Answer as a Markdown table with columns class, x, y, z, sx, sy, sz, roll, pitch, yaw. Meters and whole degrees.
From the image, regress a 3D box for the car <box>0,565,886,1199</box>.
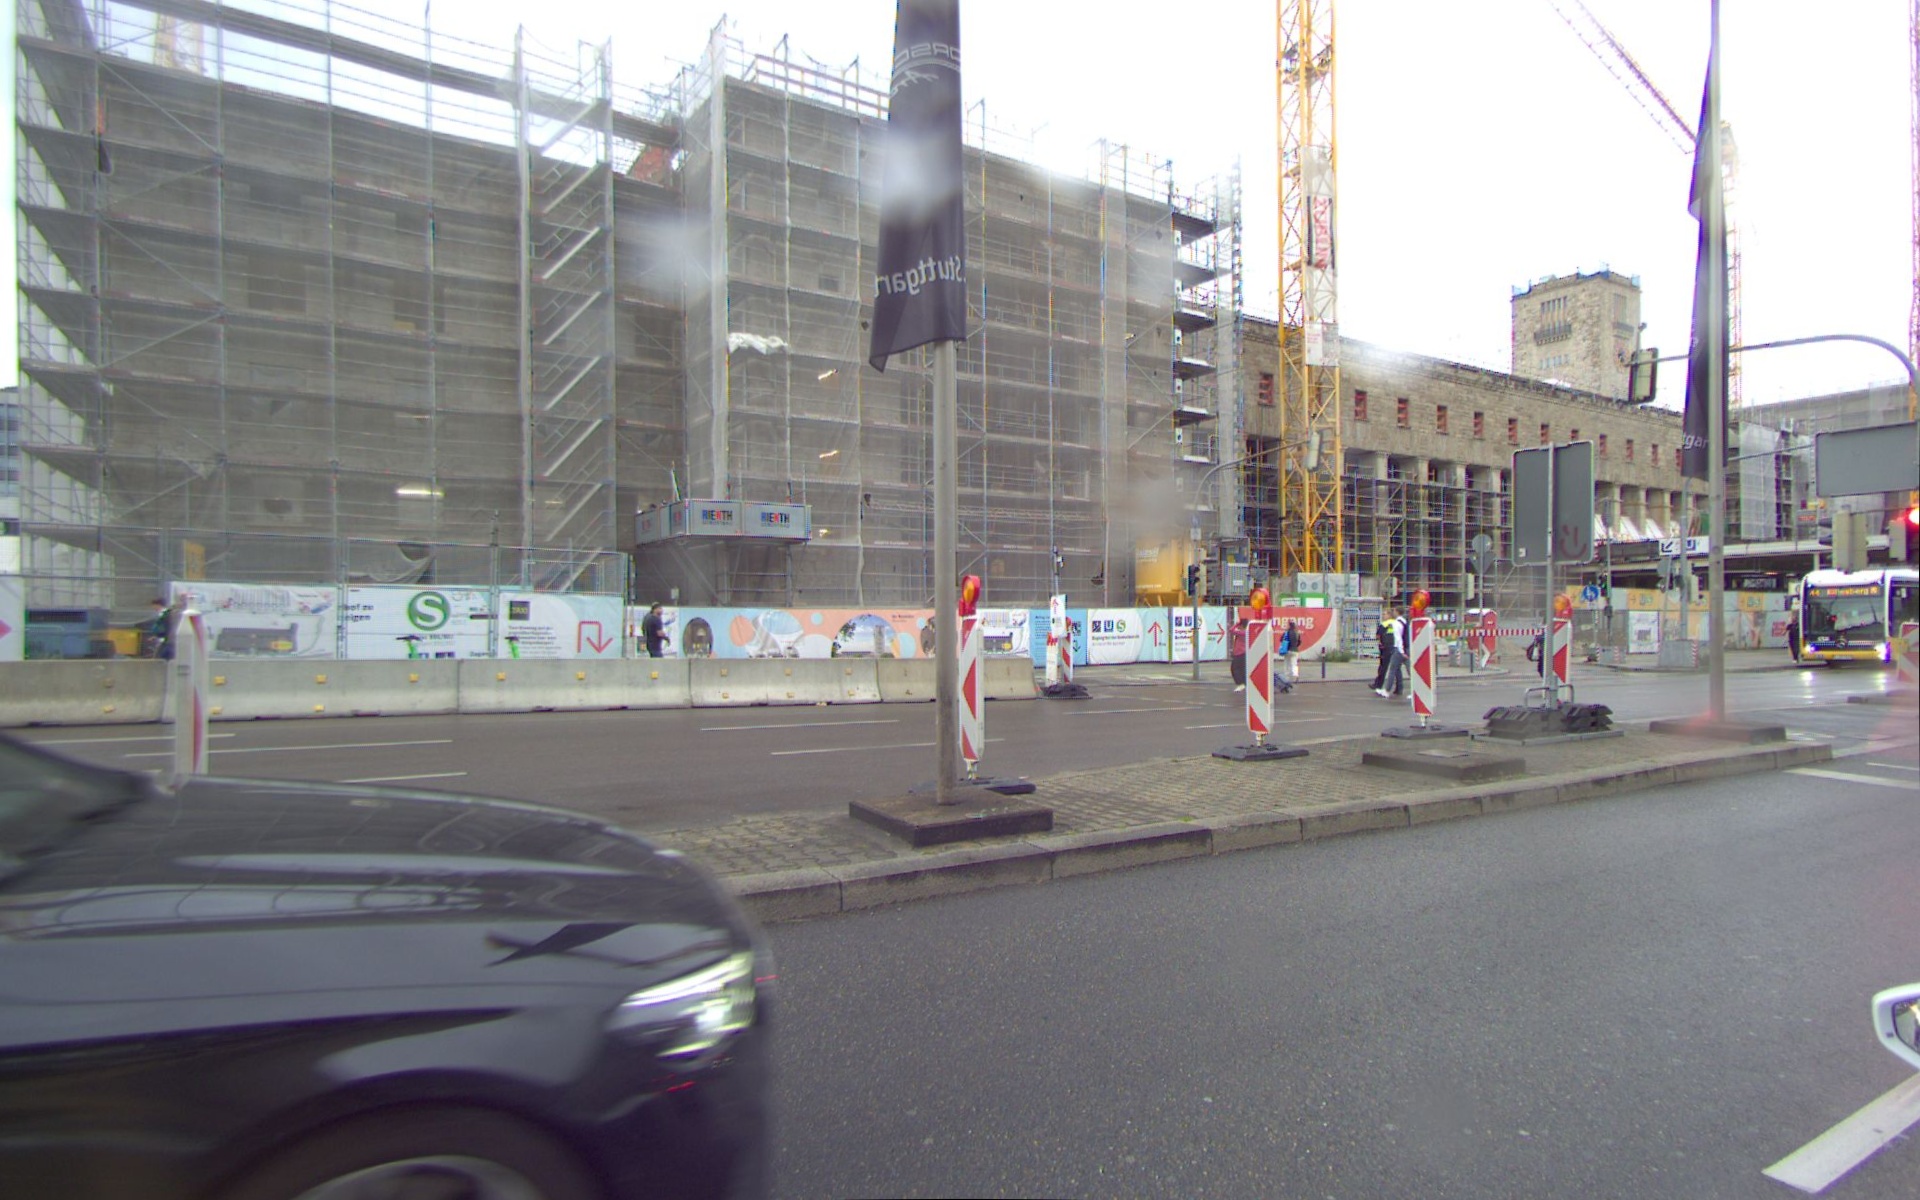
| class | x | y | z | sx | sy | sz | roll | pitch | yaw |
| --- | --- | --- | --- | --- | --- | --- | --- | --- | --- |
| car | -2.565 | 0.662 | 1.577 | 4.533 | 1.489 | 1.846 | 2 | 0 | -30 |

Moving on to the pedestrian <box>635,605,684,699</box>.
| class | x | y | z | sx | sy | sz | roll | pitch | yaw |
| --- | --- | --- | --- | --- | --- | --- | --- | --- | --- |
| pedestrian | -6.063 | 1.035 | 20.247 | 0.810 | 1.860 | 0.575 | 1 | 0 | -30 |

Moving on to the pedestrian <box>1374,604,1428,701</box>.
| class | x | y | z | sx | sy | sz | roll | pitch | yaw |
| --- | --- | --- | --- | --- | --- | --- | --- | --- | --- |
| pedestrian | 9.040 | 1.056 | 20.595 | 0.614 | 1.915 | 0.793 | 1 | 0 | -38 |

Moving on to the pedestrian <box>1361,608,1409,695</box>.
| class | x | y | z | sx | sy | sz | roll | pitch | yaw |
| --- | --- | --- | --- | --- | --- | --- | --- | --- | --- |
| pedestrian | 9.403 | 1.125 | 22.214 | 0.810 | 1.860 | 0.575 | 1 | 0 | -30 |

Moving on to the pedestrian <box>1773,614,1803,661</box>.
| class | x | y | z | sx | sy | sz | roll | pitch | yaw |
| --- | --- | --- | --- | --- | --- | --- | --- | --- | --- |
| pedestrian | 30.767 | 1.385 | 37.335 | 0.637 | 1.703 | 0.656 | 1 | 0 | -30 |

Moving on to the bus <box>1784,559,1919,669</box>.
| class | x | y | z | sx | sy | sz | roll | pitch | yaw |
| --- | --- | --- | --- | --- | --- | --- | --- | --- | --- |
| bus | 34.181 | 0.566 | 36.923 | 10.119 | 3.650 | 2.655 | 2 | 0 | -30 |

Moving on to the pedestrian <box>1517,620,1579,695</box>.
| class | x | y | z | sx | sy | sz | roll | pitch | yaw |
| --- | --- | --- | --- | --- | --- | --- | --- | --- | --- |
| pedestrian | 12.931 | 1.247 | 22.106 | 0.773 | 1.581 | 0.873 | 1 | 0 | -11 |

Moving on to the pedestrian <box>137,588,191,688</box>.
| class | x | y | z | sx | sy | sz | roll | pitch | yaw |
| --- | --- | --- | --- | --- | --- | --- | --- | --- | --- |
| pedestrian | -15.130 | 0.712 | 19.108 | 0.709 | 1.860 | 0.478 | 1 | 0 | -30 |

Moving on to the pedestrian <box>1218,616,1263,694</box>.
| class | x | y | z | sx | sy | sz | roll | pitch | yaw |
| --- | --- | --- | --- | --- | --- | --- | --- | --- | --- |
| pedestrian | 6.423 | 1.259 | 23.039 | 0.613 | 1.740 | 0.794 | 1 | -2 | -33 |

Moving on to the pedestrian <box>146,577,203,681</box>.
| class | x | y | z | sx | sy | sz | roll | pitch | yaw |
| --- | --- | --- | --- | --- | --- | --- | --- | --- | --- |
| pedestrian | -14.300 | 0.521 | 18.299 | 0.709 | 1.860 | 0.478 | 1 | 0 | -30 |

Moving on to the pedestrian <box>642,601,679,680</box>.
| class | x | y | z | sx | sy | sz | roll | pitch | yaw |
| --- | --- | --- | --- | --- | --- | --- | --- | --- | --- |
| pedestrian | -7.256 | 0.977 | 24.335 | 0.709 | 1.860 | 0.478 | 1 | 0 | -30 |

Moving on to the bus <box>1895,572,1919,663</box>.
| class | x | y | z | sx | sy | sz | roll | pitch | yaw |
| --- | --- | --- | --- | --- | --- | --- | --- | --- | --- |
| bus | 42.926 | 0.824 | 42.107 | 10.092 | 3.650 | 2.655 | 2 | 0 | -30 |

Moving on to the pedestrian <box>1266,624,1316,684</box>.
| class | x | y | z | sx | sy | sz | roll | pitch | yaw |
| --- | --- | --- | --- | --- | --- | --- | --- | --- | --- |
| pedestrian | 8.974 | 1.454 | 27.266 | 0.890 | 1.584 | 0.909 | 1 | 0 | -33 |
